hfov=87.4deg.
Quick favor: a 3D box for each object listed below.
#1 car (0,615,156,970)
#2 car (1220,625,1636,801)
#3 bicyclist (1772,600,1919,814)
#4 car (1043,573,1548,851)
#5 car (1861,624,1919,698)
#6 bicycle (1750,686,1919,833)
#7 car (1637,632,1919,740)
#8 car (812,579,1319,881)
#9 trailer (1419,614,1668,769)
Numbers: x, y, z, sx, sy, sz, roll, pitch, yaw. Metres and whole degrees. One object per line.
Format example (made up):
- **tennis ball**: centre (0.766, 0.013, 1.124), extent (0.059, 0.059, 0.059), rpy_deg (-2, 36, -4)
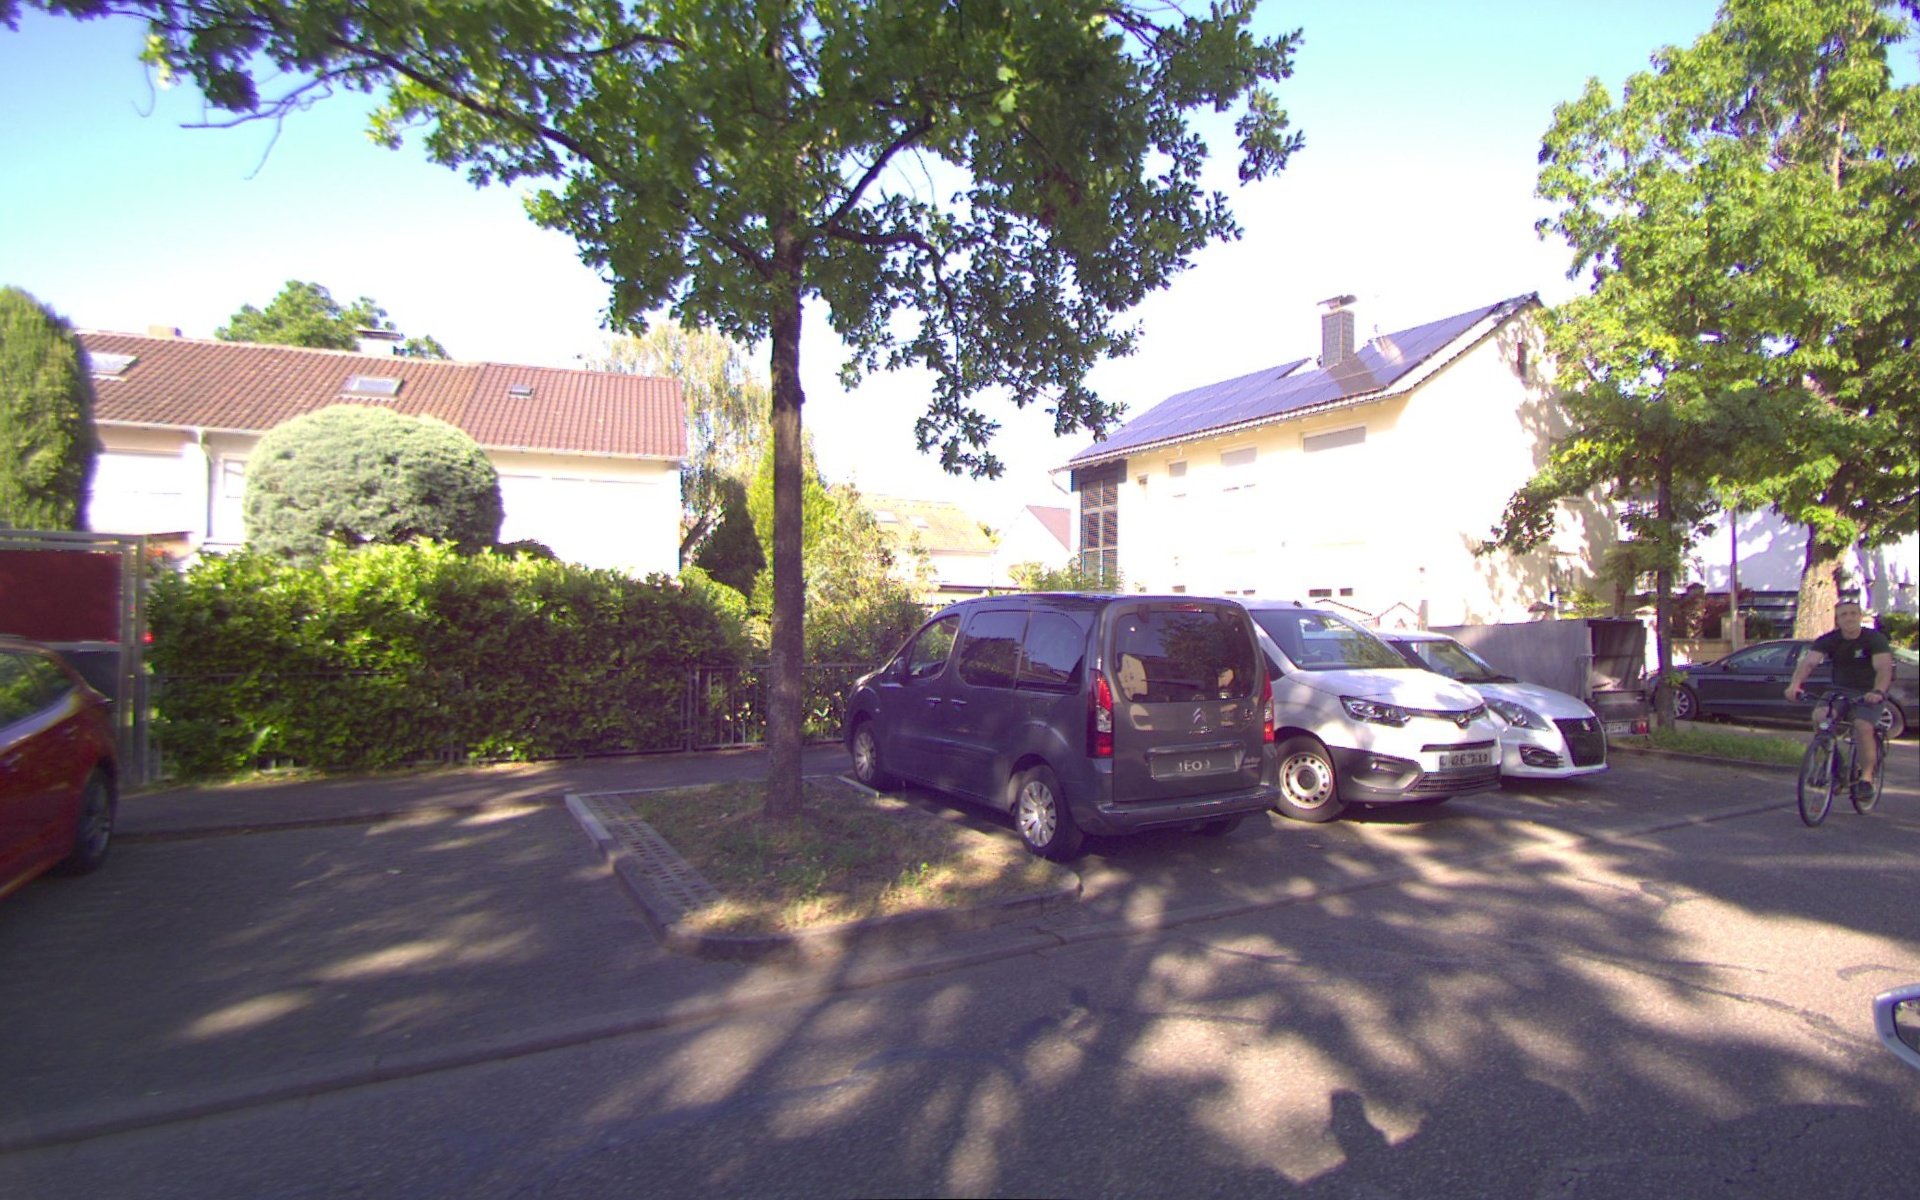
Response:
- **car**: centre (-5.208, 0.824, 4.426), extent (1.814, 1.519, 4.457), rpy_deg (1, -1, -29)
- **car**: centre (4.941, 1.077, 11.163), extent (1.671, 1.536, 3.967), rpy_deg (1, -1, -31)
- **bicyclist**: centre (7.487, 0.876, 8.496), extent (0.964, 1.695, 0.593), rpy_deg (1, -4, -30)
- **car**: centre (2.854, 0.876, 9.449), extent (1.979, 1.969, 4.212), rpy_deg (2, -3, -33)
- **car**: centre (22.157, 1.370, 21.321), extent (1.770, 1.588, 4.168), rpy_deg (1, 0, -29)
- **bicycle**: centre (7.499, 1.291, 8.475), extent (1.963, 1.072, 0.594), rpy_deg (1, -4, -30)
- **car**: centre (13.458, 1.276, 15.962), extent (1.671, 1.491, 4.189), rpy_deg (1, -2, -31)
- **car**: centre (0.558, 0.784, 8.283), extent (1.946, 1.793, 4.214), rpy_deg (1, 0, -33)
- **trailer**: centre (7.079, 1.034, 12.326), extent (1.455, 1.696, 2.228), rpy_deg (1, -1, -27)
